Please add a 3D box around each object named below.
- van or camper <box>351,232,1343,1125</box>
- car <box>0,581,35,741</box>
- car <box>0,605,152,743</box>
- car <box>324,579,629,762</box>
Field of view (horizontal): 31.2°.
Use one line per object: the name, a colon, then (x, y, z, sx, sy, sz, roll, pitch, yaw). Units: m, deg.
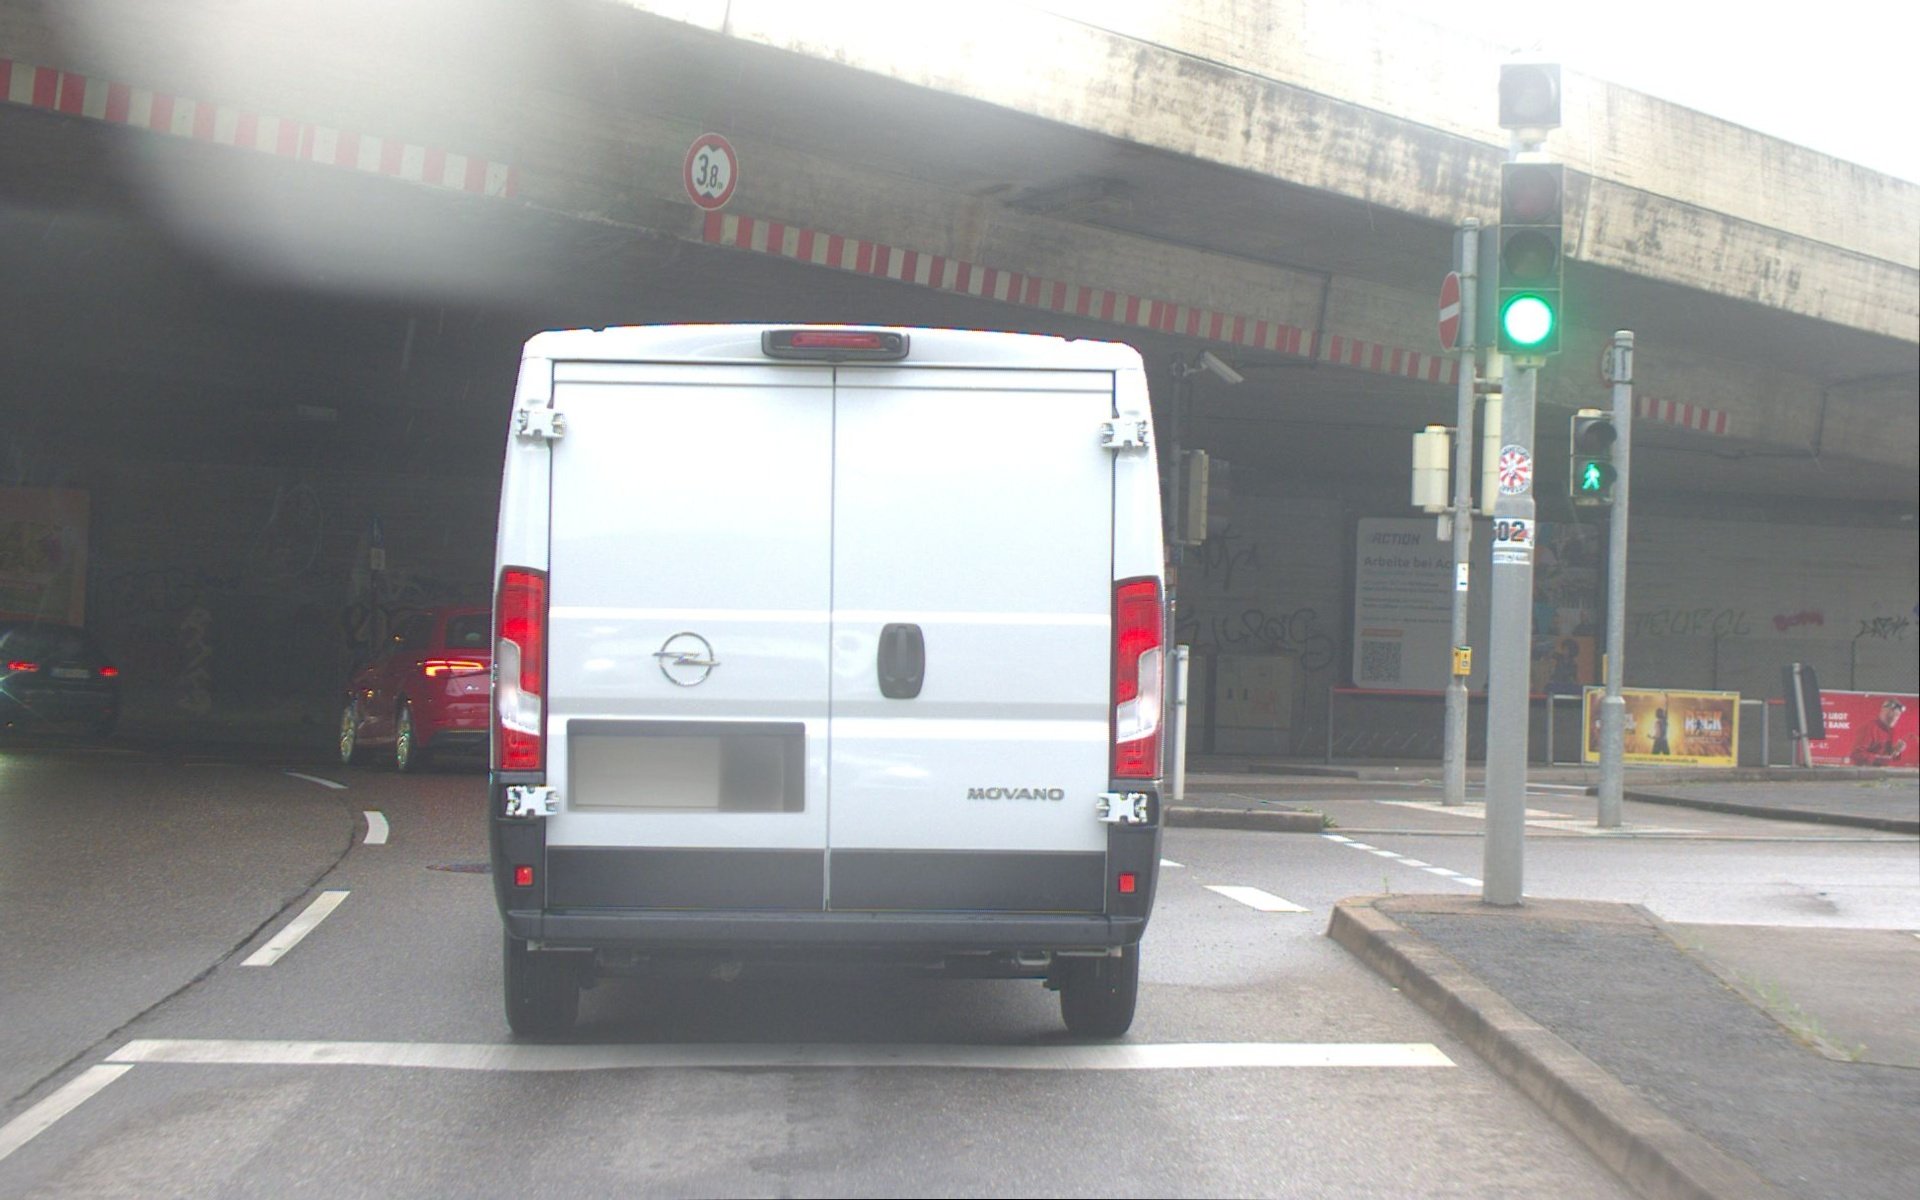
van or camper: (-0.337, 0.205, 12.113, 2.698, 2.408, 4.903, 2, 0, 0)
car: (-11.076, 0.505, 35.082, 1.993, 1.525, 4.501, 2, 1, -30)
car: (-11.928, 0.886, 43.373, 1.993, 1.525, 4.318, 2, 1, -33)
car: (-4.262, 0.604, 29.775, 1.835, 1.433, 4.104, 2, -1, -19)
